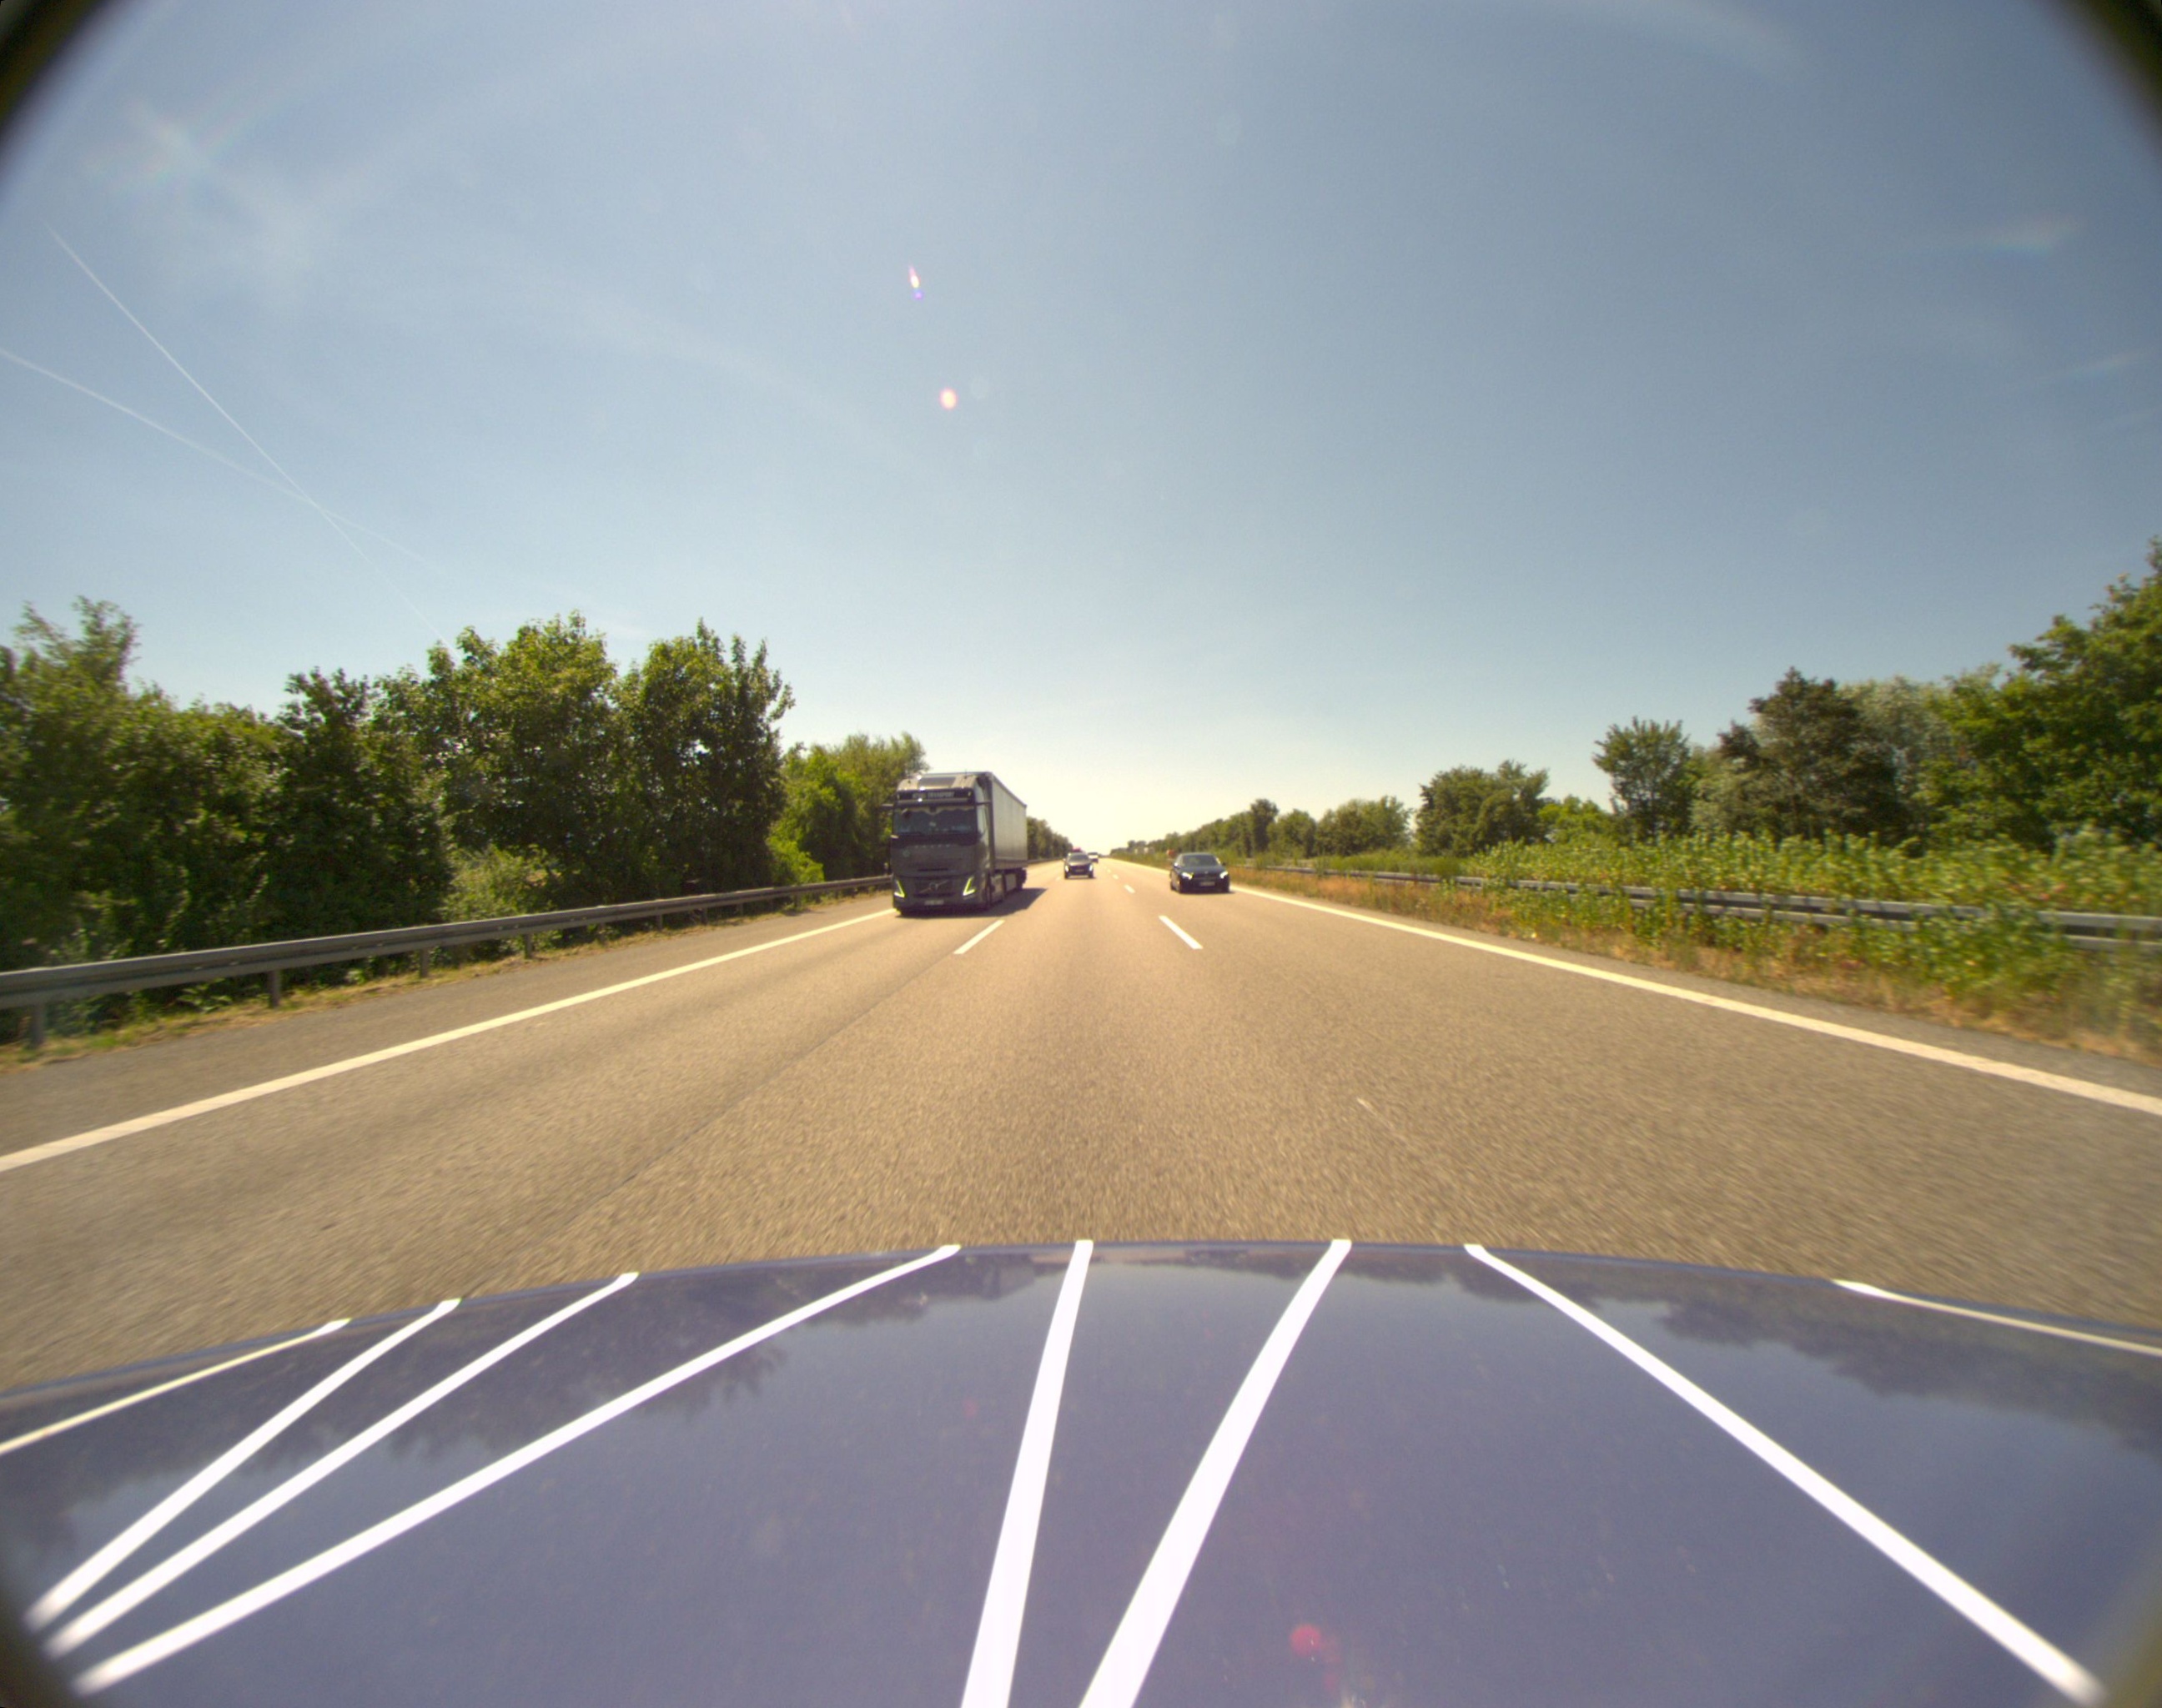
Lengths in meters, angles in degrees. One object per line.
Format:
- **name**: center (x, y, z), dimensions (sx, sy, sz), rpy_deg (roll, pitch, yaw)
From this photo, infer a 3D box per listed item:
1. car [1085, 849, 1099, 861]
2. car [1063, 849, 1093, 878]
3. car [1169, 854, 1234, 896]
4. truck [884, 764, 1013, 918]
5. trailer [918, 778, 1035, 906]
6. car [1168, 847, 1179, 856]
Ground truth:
- **car**: center (1.742, 0.186, 120.398), dimensions (2.147, 1.810, 5.267), rpy_deg (-1, 0, 1)
- **car**: center (-0.166, 0.584, 48.285), dimensions (1.796, 1.696, 4.000), rpy_deg (-1, 0, 1)
- **car**: center (4.398, 0.729, 28.304), dimensions (1.796, 1.403, 4.052), rpy_deg (-1, 0, 1)
- **truck**: center (-3.738, -0.347, 23.017), dimensions (2.559, 3.931, 6.513), rpy_deg (-1, 0, 1)
- **trailer**: center (-3.687, -0.394, 30.563), dimensions (2.559, 3.931, 13.538), rpy_deg (-1, 0, 1)
- **car**: center (24.721, -0.722, 203.145), dimensions (2.187, 2.423, 4.955), rpy_deg (0, 0, -1)
